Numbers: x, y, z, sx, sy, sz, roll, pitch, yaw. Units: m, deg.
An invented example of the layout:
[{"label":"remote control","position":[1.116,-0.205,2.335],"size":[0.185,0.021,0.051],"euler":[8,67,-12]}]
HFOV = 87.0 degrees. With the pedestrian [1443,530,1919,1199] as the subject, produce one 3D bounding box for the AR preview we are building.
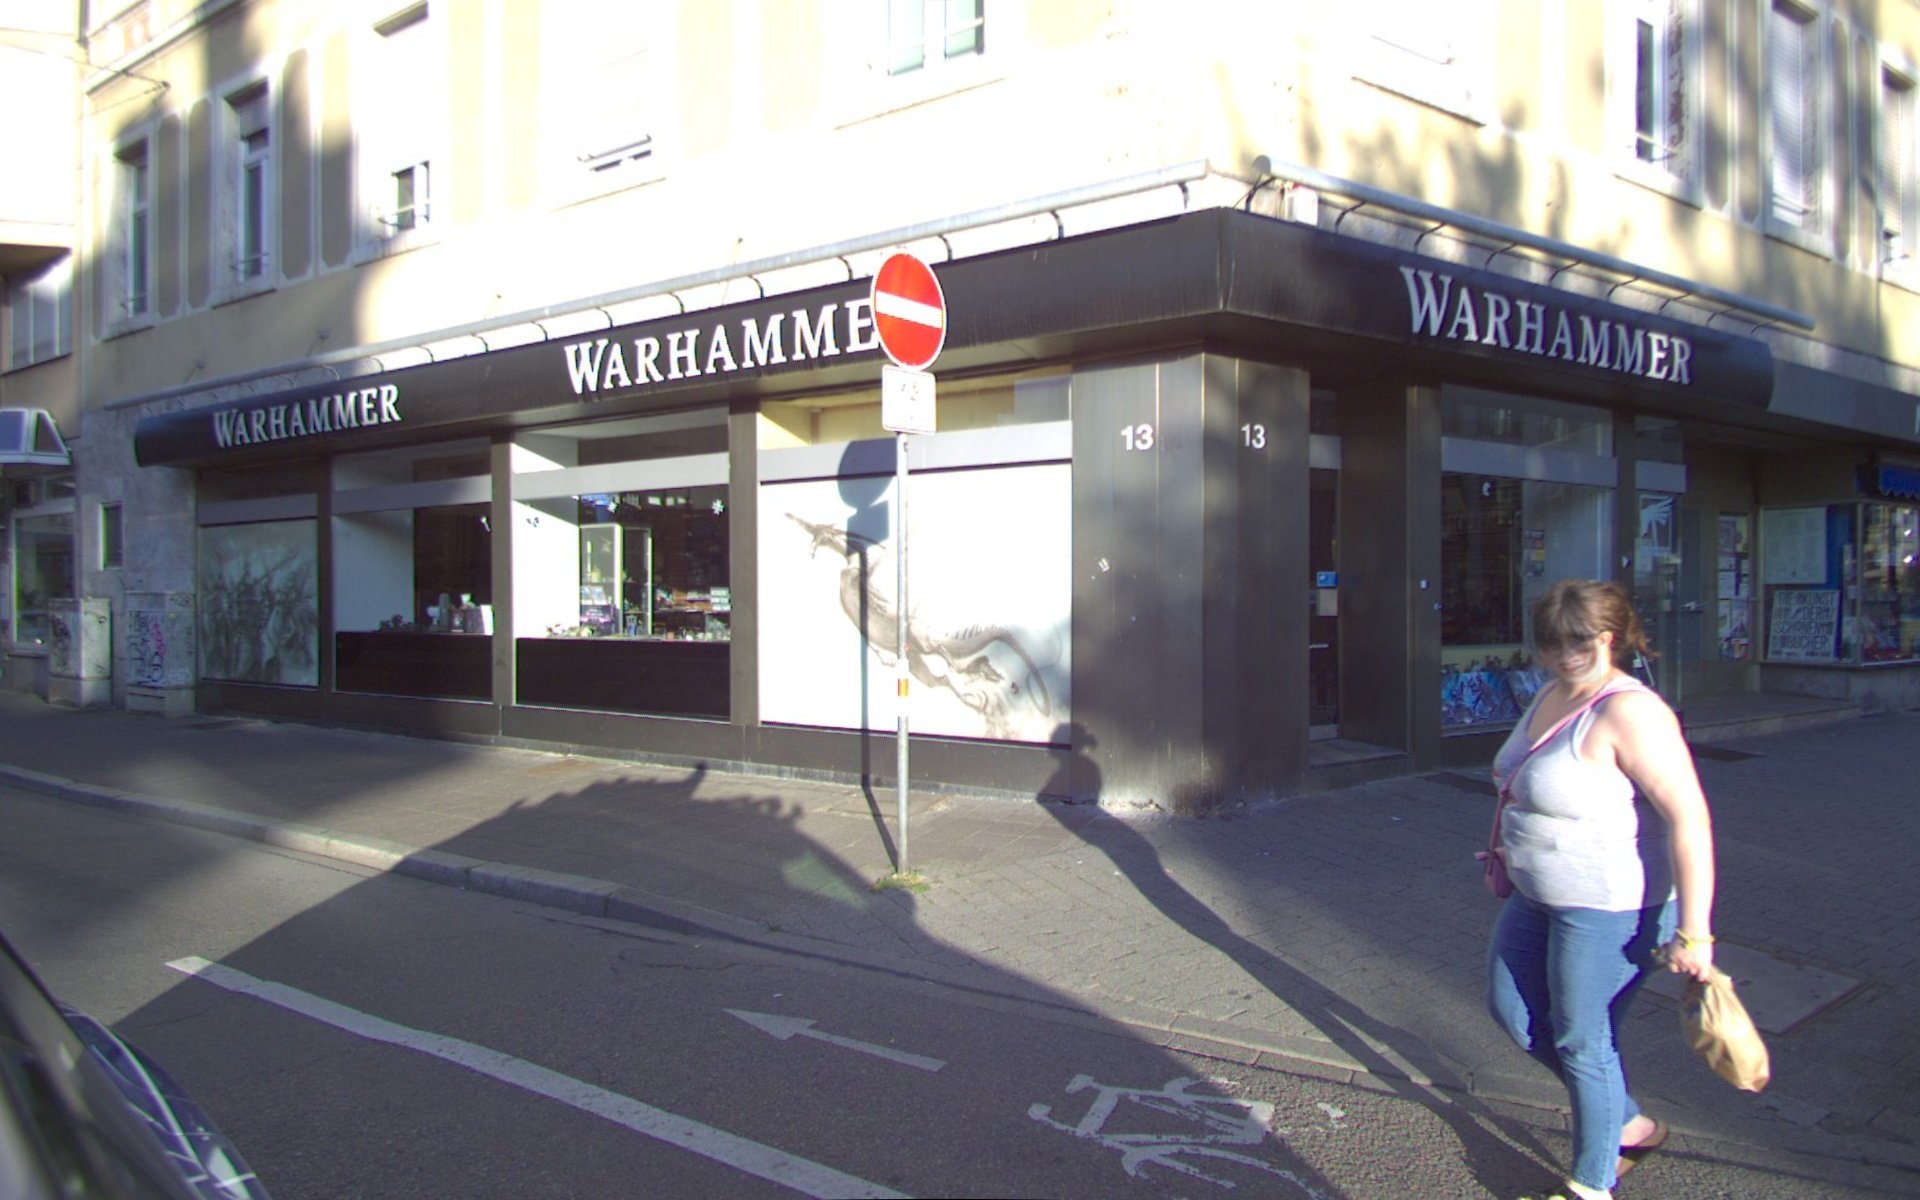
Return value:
[{"label":"pedestrian","position":[1.652,0.680,2.298],"size":[0.724,1.625,0.805],"euler":[0,0,1]}]
